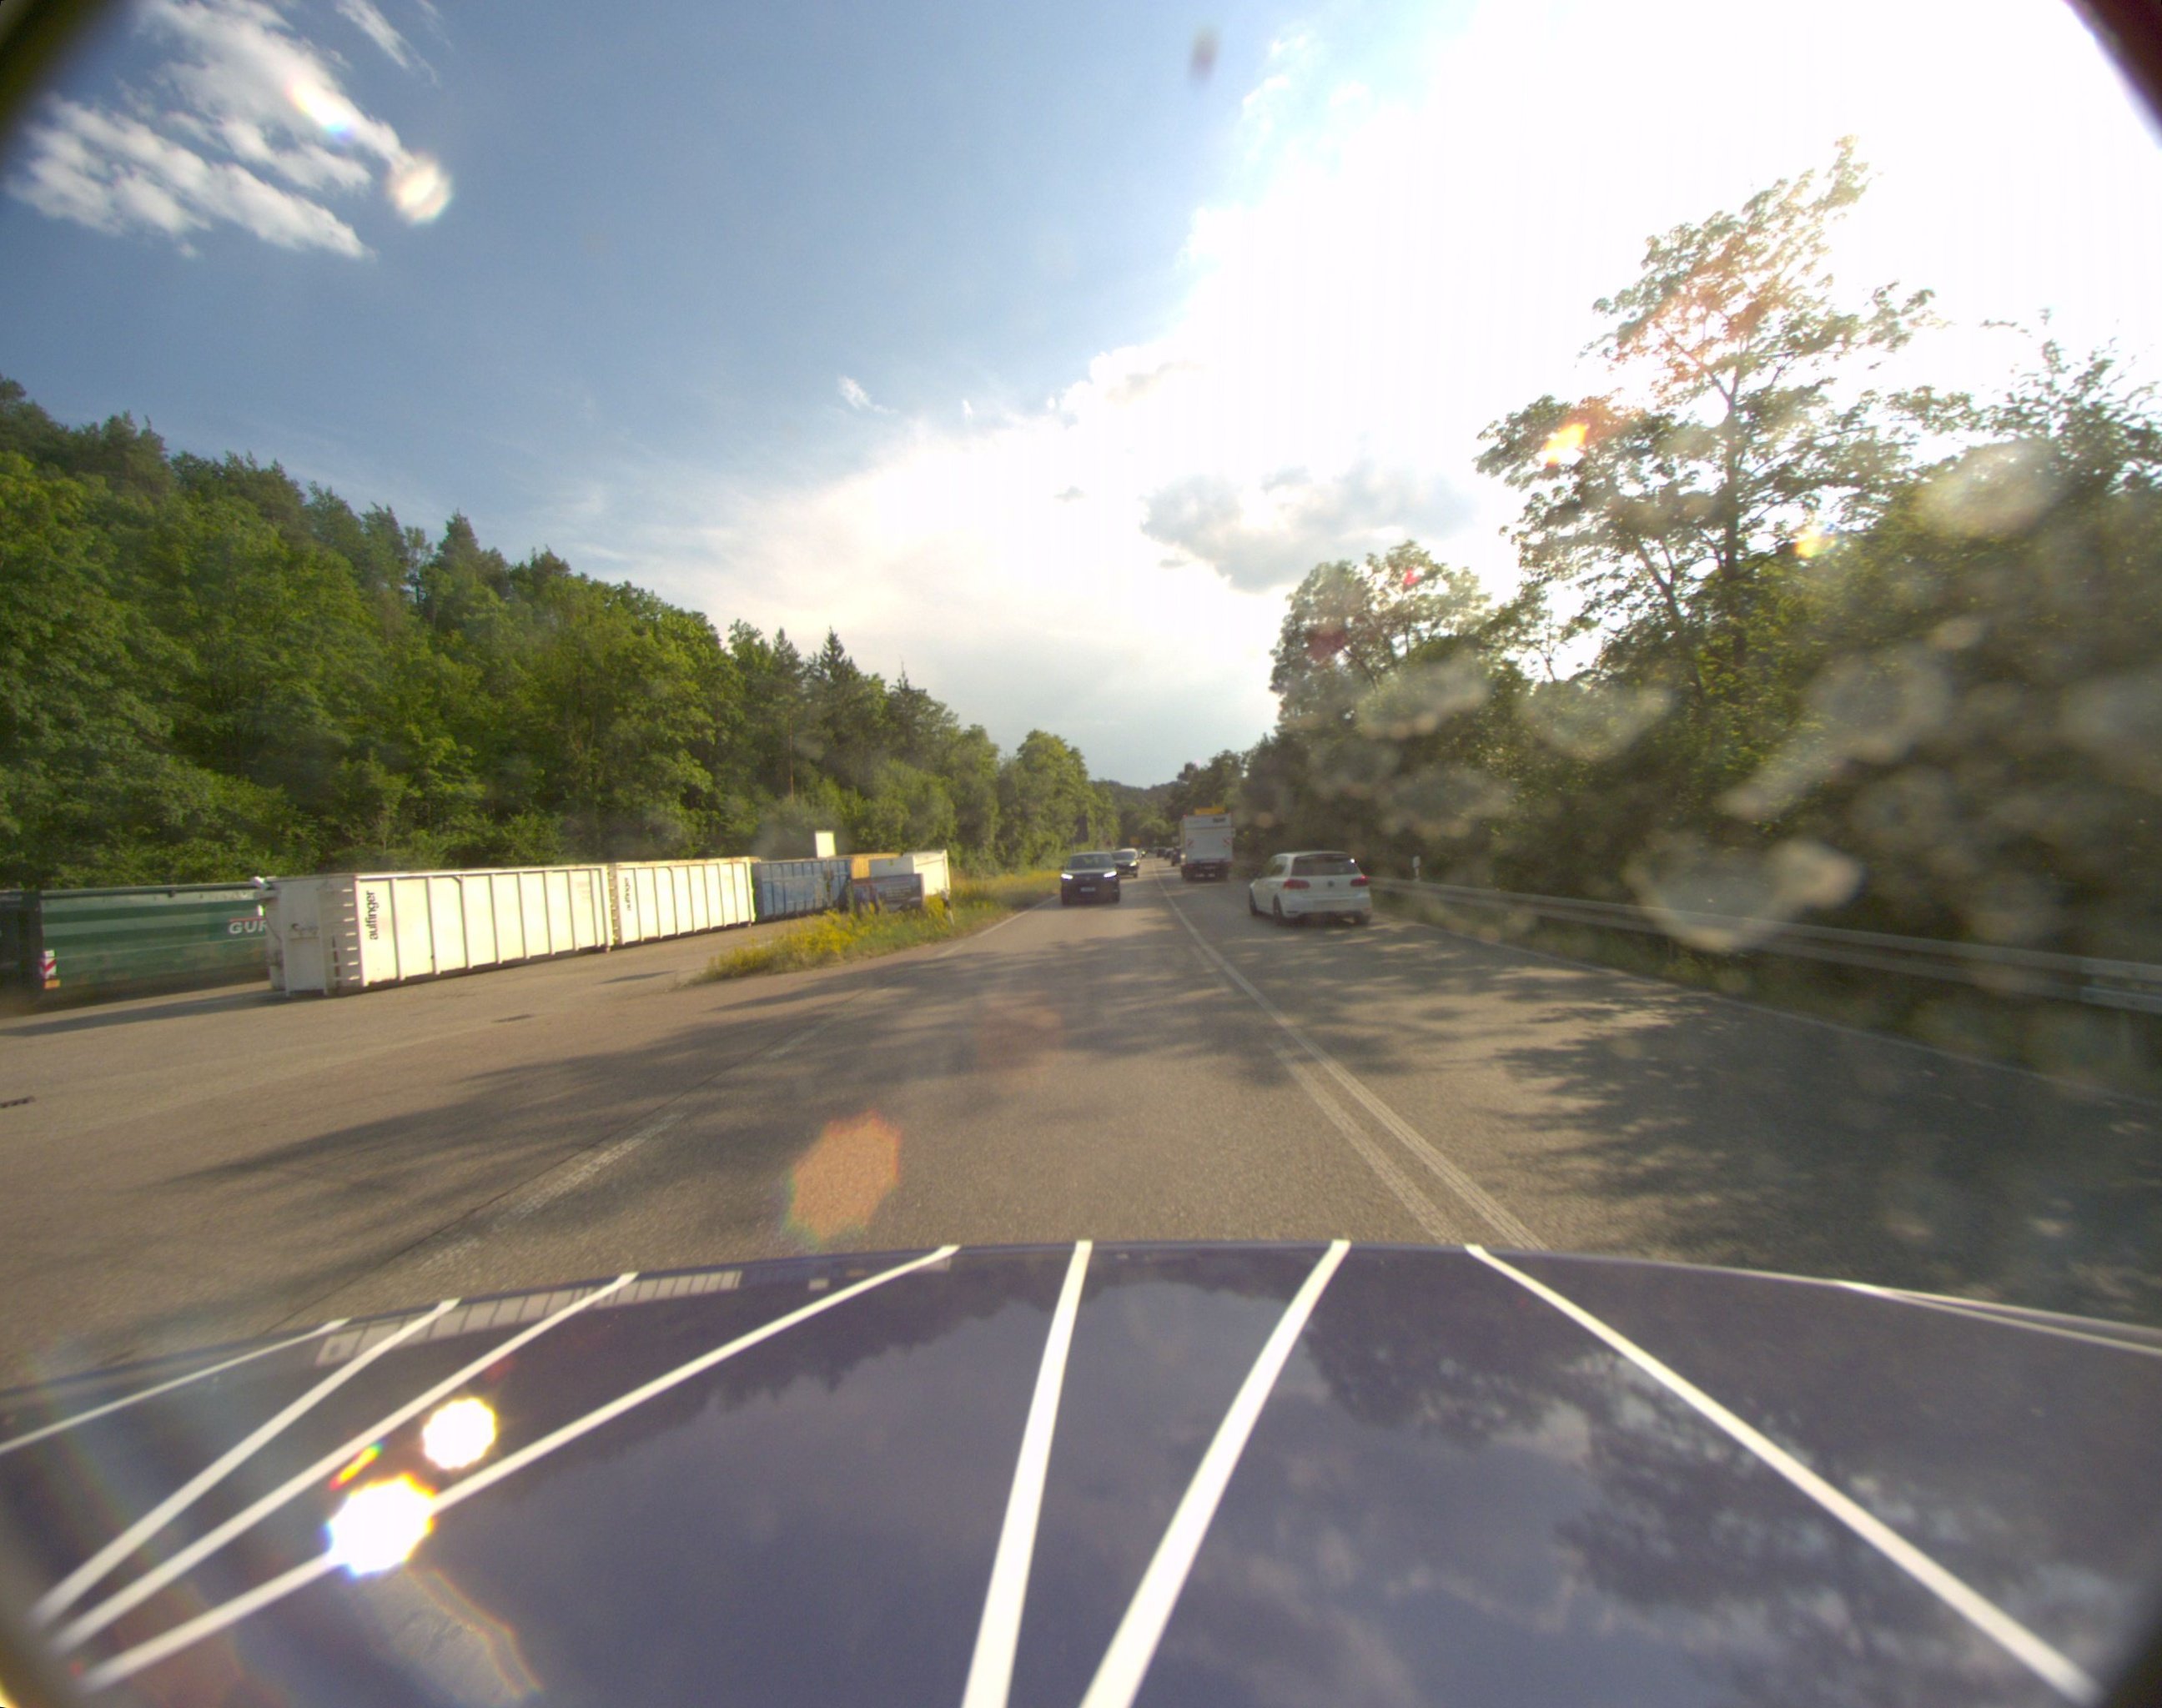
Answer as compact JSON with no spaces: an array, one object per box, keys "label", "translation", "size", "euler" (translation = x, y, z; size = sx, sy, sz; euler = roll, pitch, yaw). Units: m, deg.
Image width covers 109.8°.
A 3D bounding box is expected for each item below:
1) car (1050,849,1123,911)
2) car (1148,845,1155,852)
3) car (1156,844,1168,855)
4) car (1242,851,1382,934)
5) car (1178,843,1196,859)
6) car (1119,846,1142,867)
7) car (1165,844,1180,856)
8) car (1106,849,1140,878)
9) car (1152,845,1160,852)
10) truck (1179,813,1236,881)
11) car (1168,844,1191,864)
[{"label":"car","translation":[0.276,0.740,24.053],"size":[1.859,1.630,4.442],"euler":[-4,0,5]},{"label":"car","translation":[19.503,-1.557,210.552],"size":[1.796,1.623,4.258],"euler":[-4,0,5]},{"label":"car","translation":[12.983,-0.771,121.859],"size":[1.796,1.623,4.258],"euler":[-2,0,5]},{"label":"car","translation":[4.598,0.704,15.715],"size":[1.796,1.437,3.794],"euler":[-2,0,2]},{"label":"car","translation":[12.110,-0.347,87.135],"size":[1.796,1.623,4.258],"euler":[-2,0,5]},{"label":"car","translation":[4.361,0.185,67.532],"size":[1.867,1.710,4.764],"euler":[-4,0,2]},{"label":"car","translation":[12.397,-0.543,103.436],"size":[1.796,1.623,4.258],"euler":[-2,0,5]},{"label":"car","translation":[2.514,0.526,45.049],"size":[1.848,1.560,4.258],"euler":[-2,0,5]},{"label":"car","translation":[19.010,-1.333,192.007],"size":[1.796,1.623,4.258],"euler":[-4,0,5]},{"label":"truck","translation":[6.202,-0.375,37.926],"size":[2.461,3.055,6.267],"euler":[-2,1,7]},{"label":"car","translation":[8.635,0.001,67.065],"size":[1.796,1.623,4.258],"euler":[-2,0,5]}]
